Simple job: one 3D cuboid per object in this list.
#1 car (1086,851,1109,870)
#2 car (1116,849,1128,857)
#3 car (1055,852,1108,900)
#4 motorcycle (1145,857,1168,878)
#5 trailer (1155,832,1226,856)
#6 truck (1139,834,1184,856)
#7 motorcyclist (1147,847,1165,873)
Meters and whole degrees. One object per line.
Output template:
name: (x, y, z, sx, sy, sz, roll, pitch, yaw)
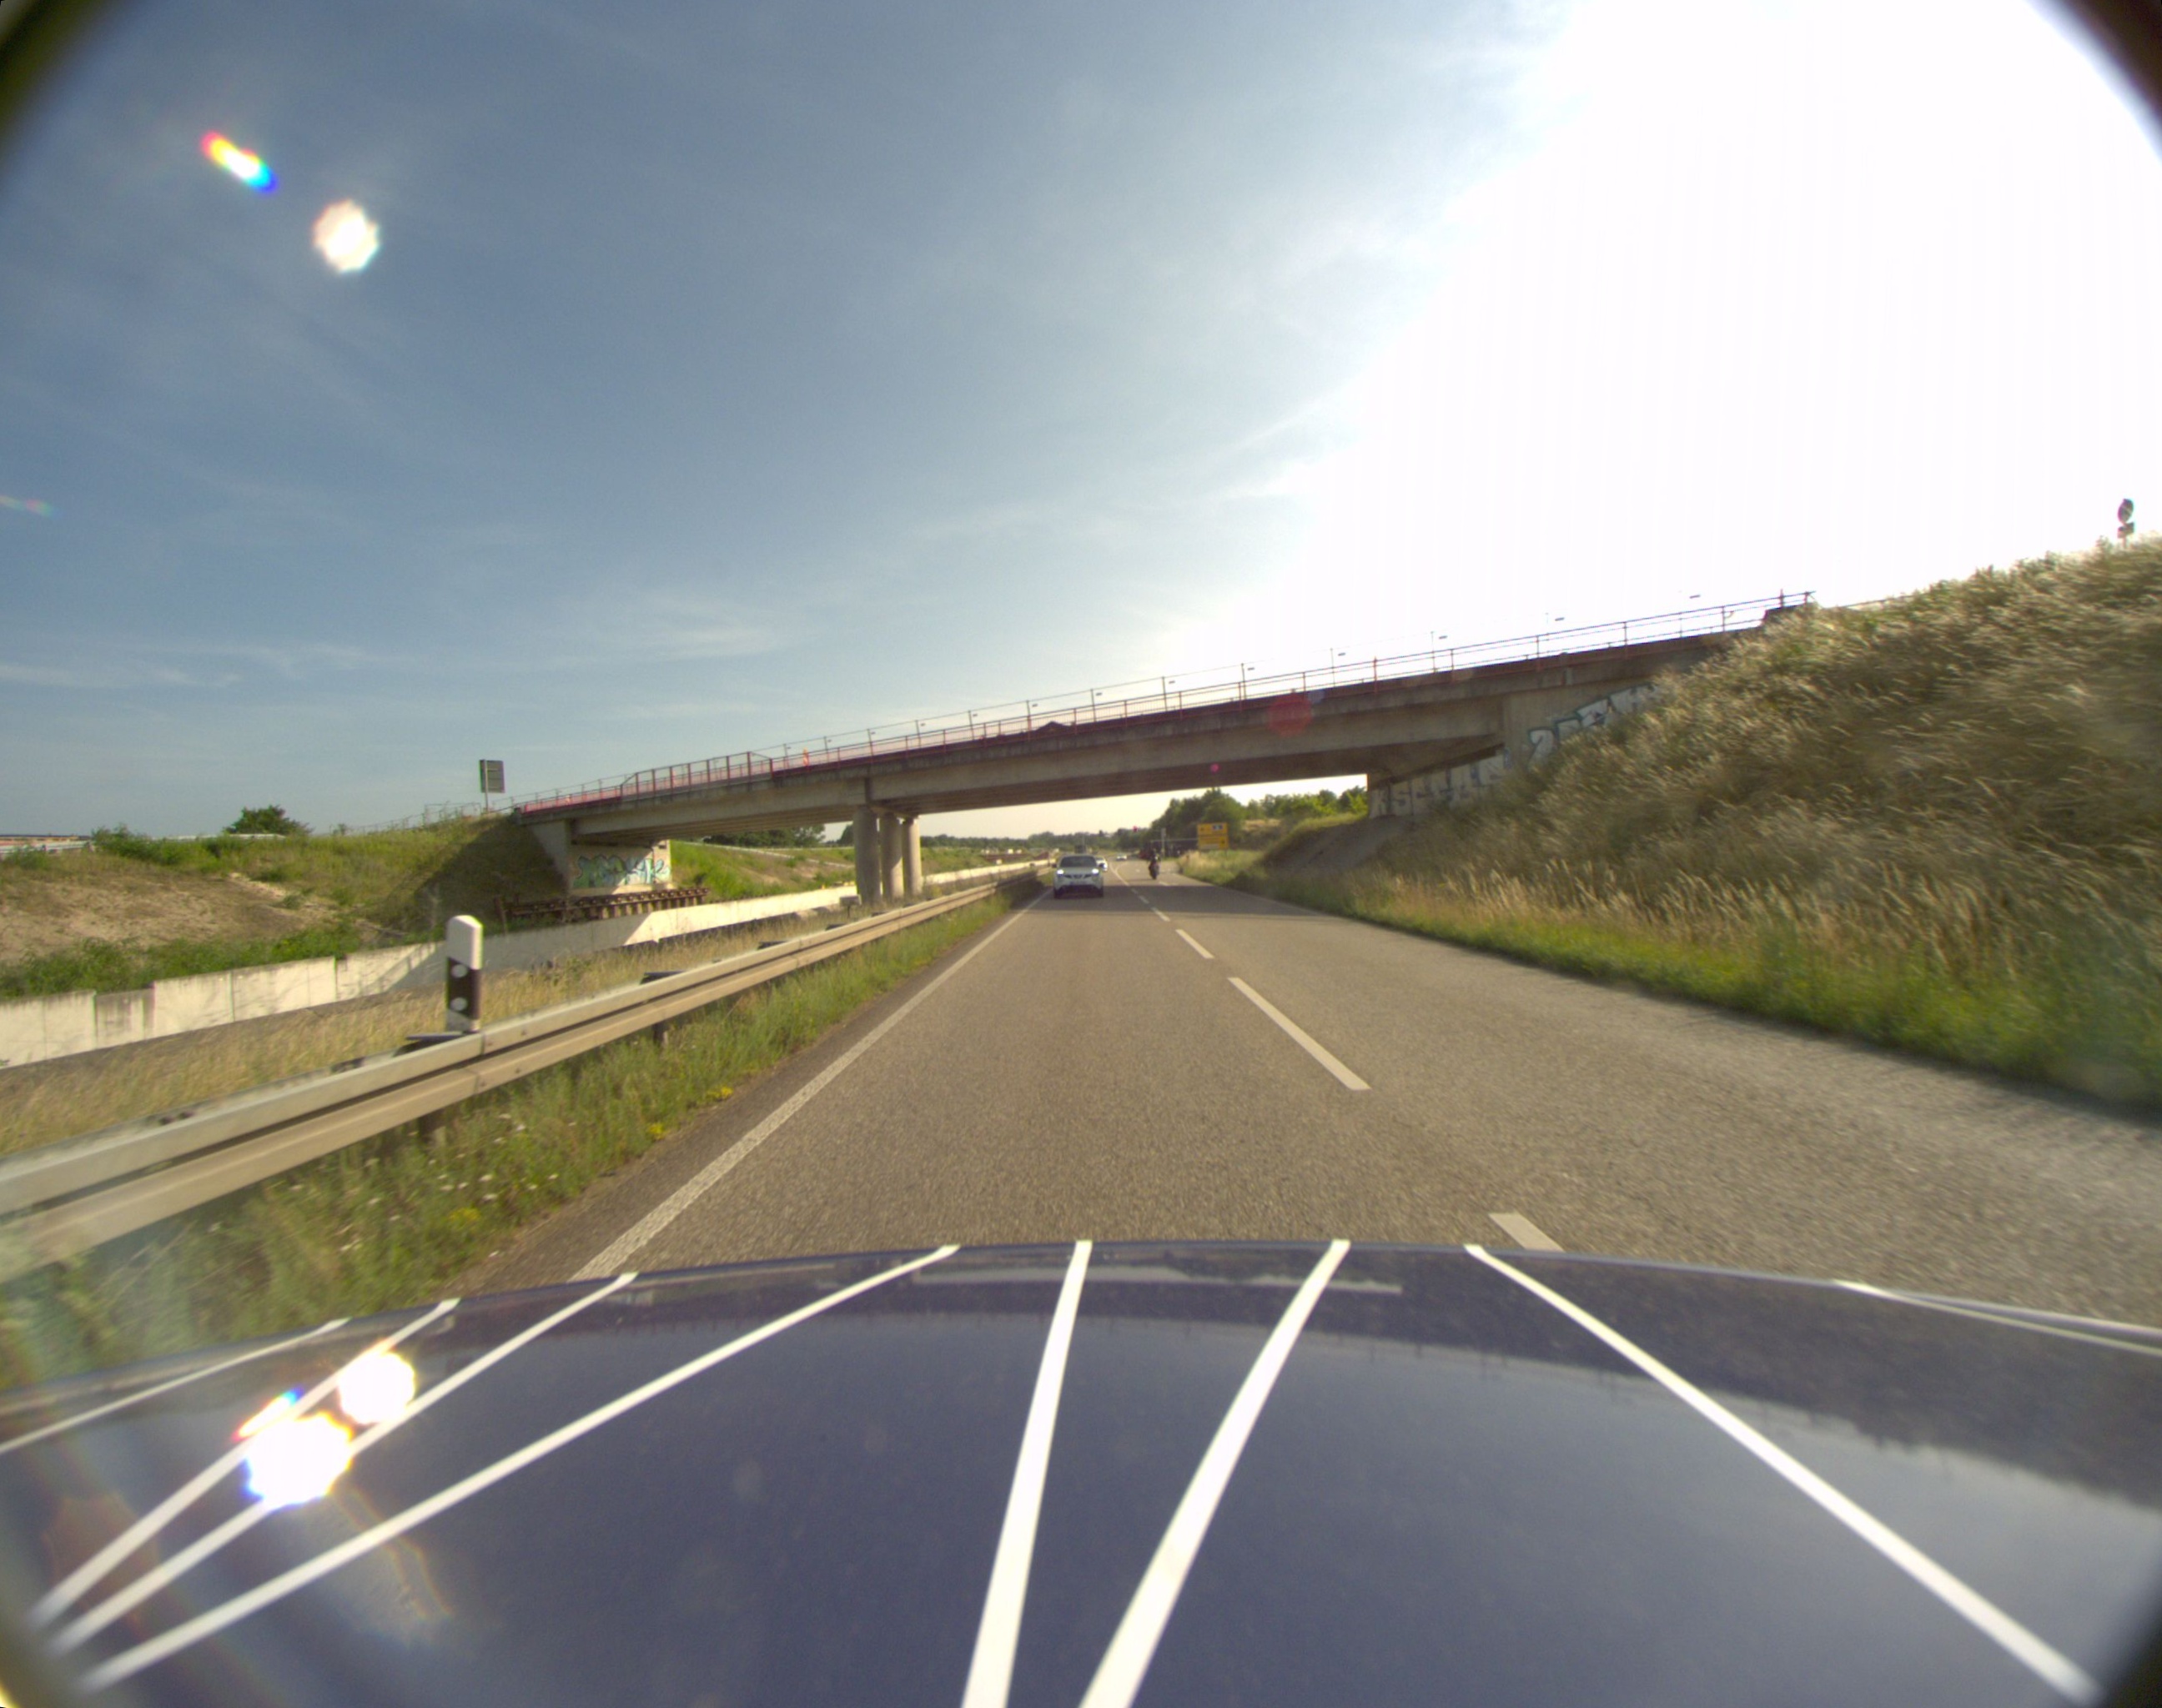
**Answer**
car: (1.459, 0.561, 67.416, 1.908, 1.512, 4.465, -2, 1, 1)
car: (8.355, -0.208, 156.273, 1.999, 1.602, 4.196, -2, 1, -3)
car: (-0.059, 0.741, 28.360, 1.789, 1.593, 4.571, -2, 0, -2)
motorcycle: (4.286, 0.737, 43.305, 1.044, 1.111, 2.132, -1, 1, -1)
trailer: (22.215, -2.041, 154.234, 13.771, 4.089, 3.563, -3, 1, 18)
truck: (16.507, -1.776, 156.206, 8.384, 4.089, 3.563, -3, 1, 18)
motorcyclist: (4.287, 0.307, 43.383, 0.881, 1.443, 1.283, -1, 1, -1)
